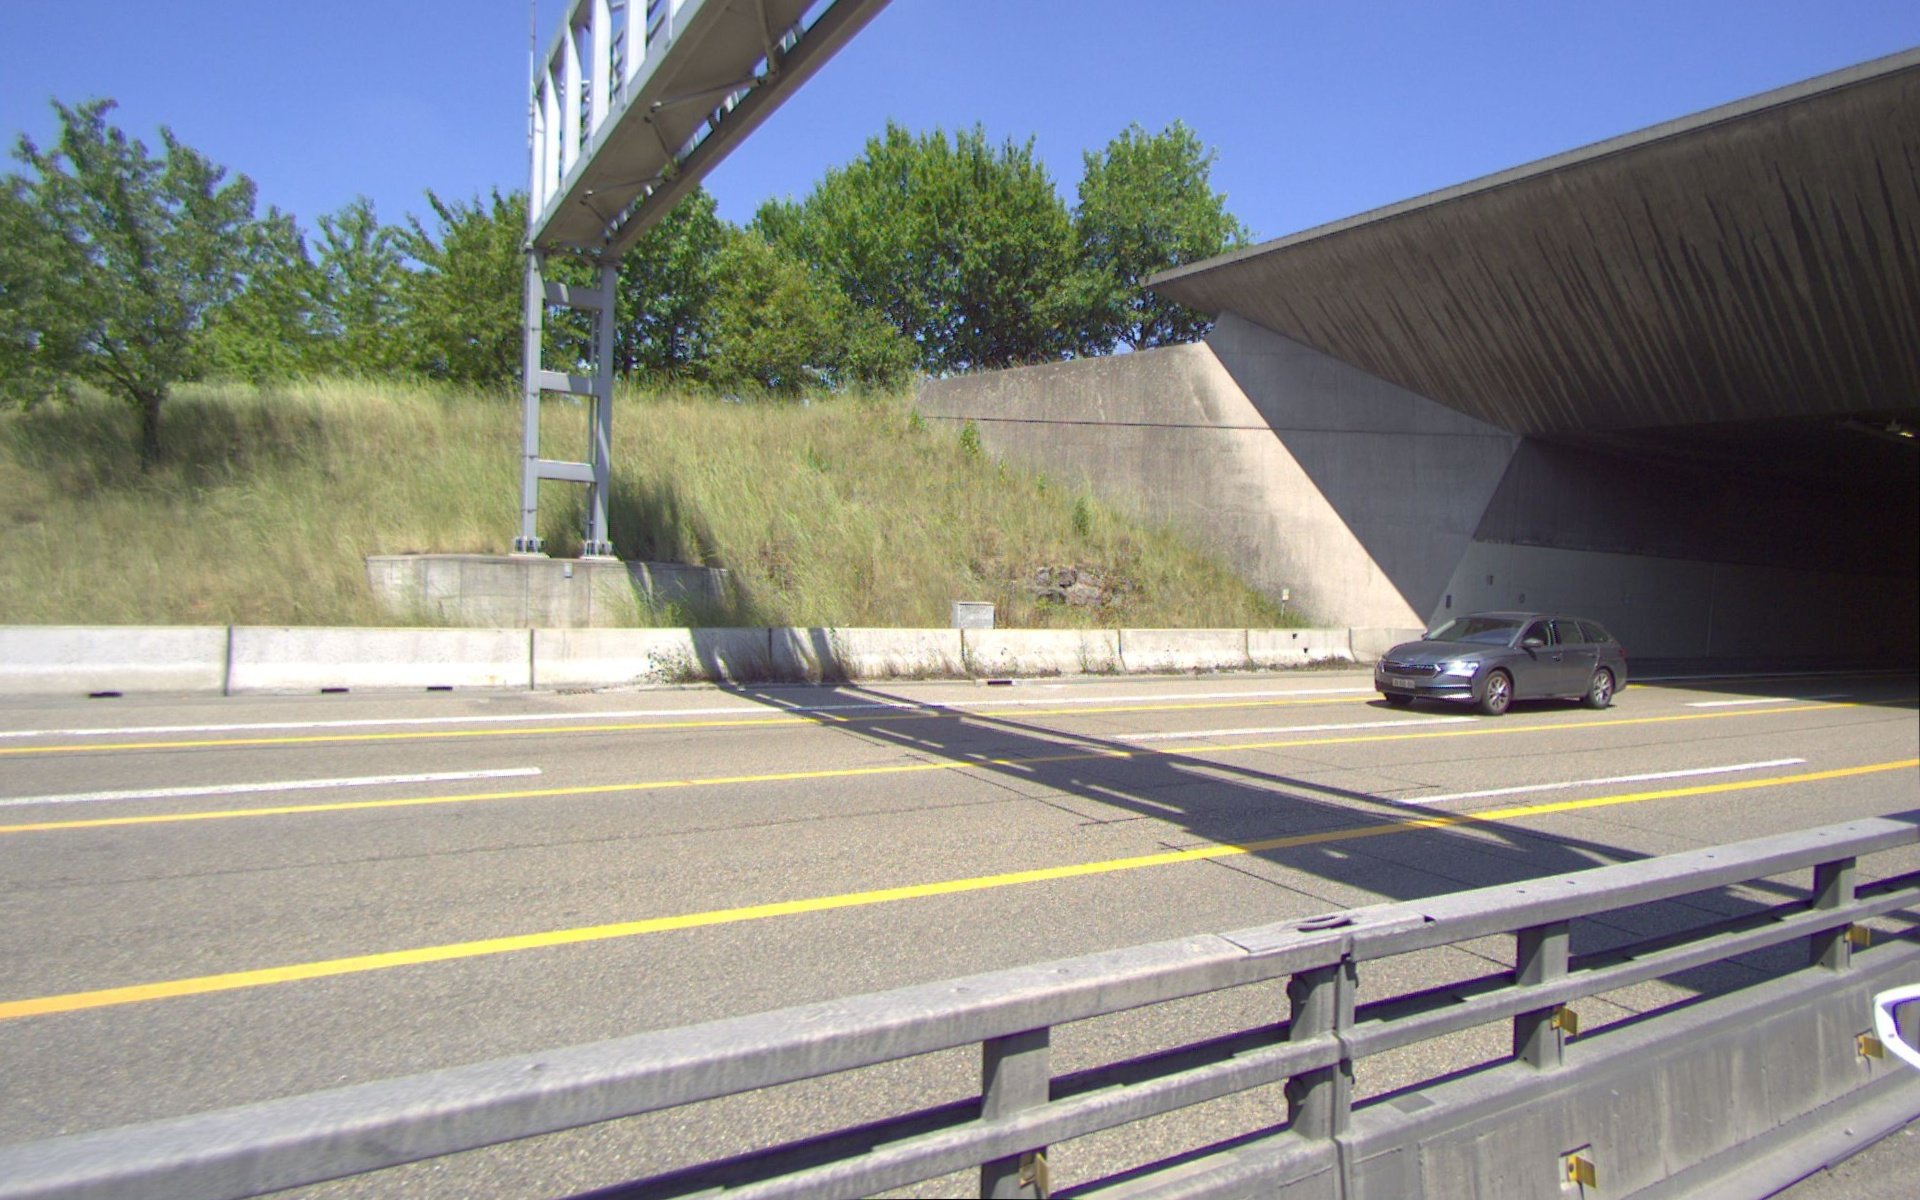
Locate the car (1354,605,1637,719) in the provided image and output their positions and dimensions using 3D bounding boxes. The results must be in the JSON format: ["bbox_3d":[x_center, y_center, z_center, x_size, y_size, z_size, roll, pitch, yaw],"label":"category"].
[{"bbox_3d":[8.349,0.873,15.567,4.510,1.536,1.765,1,0,-30],"label":"car"}]
